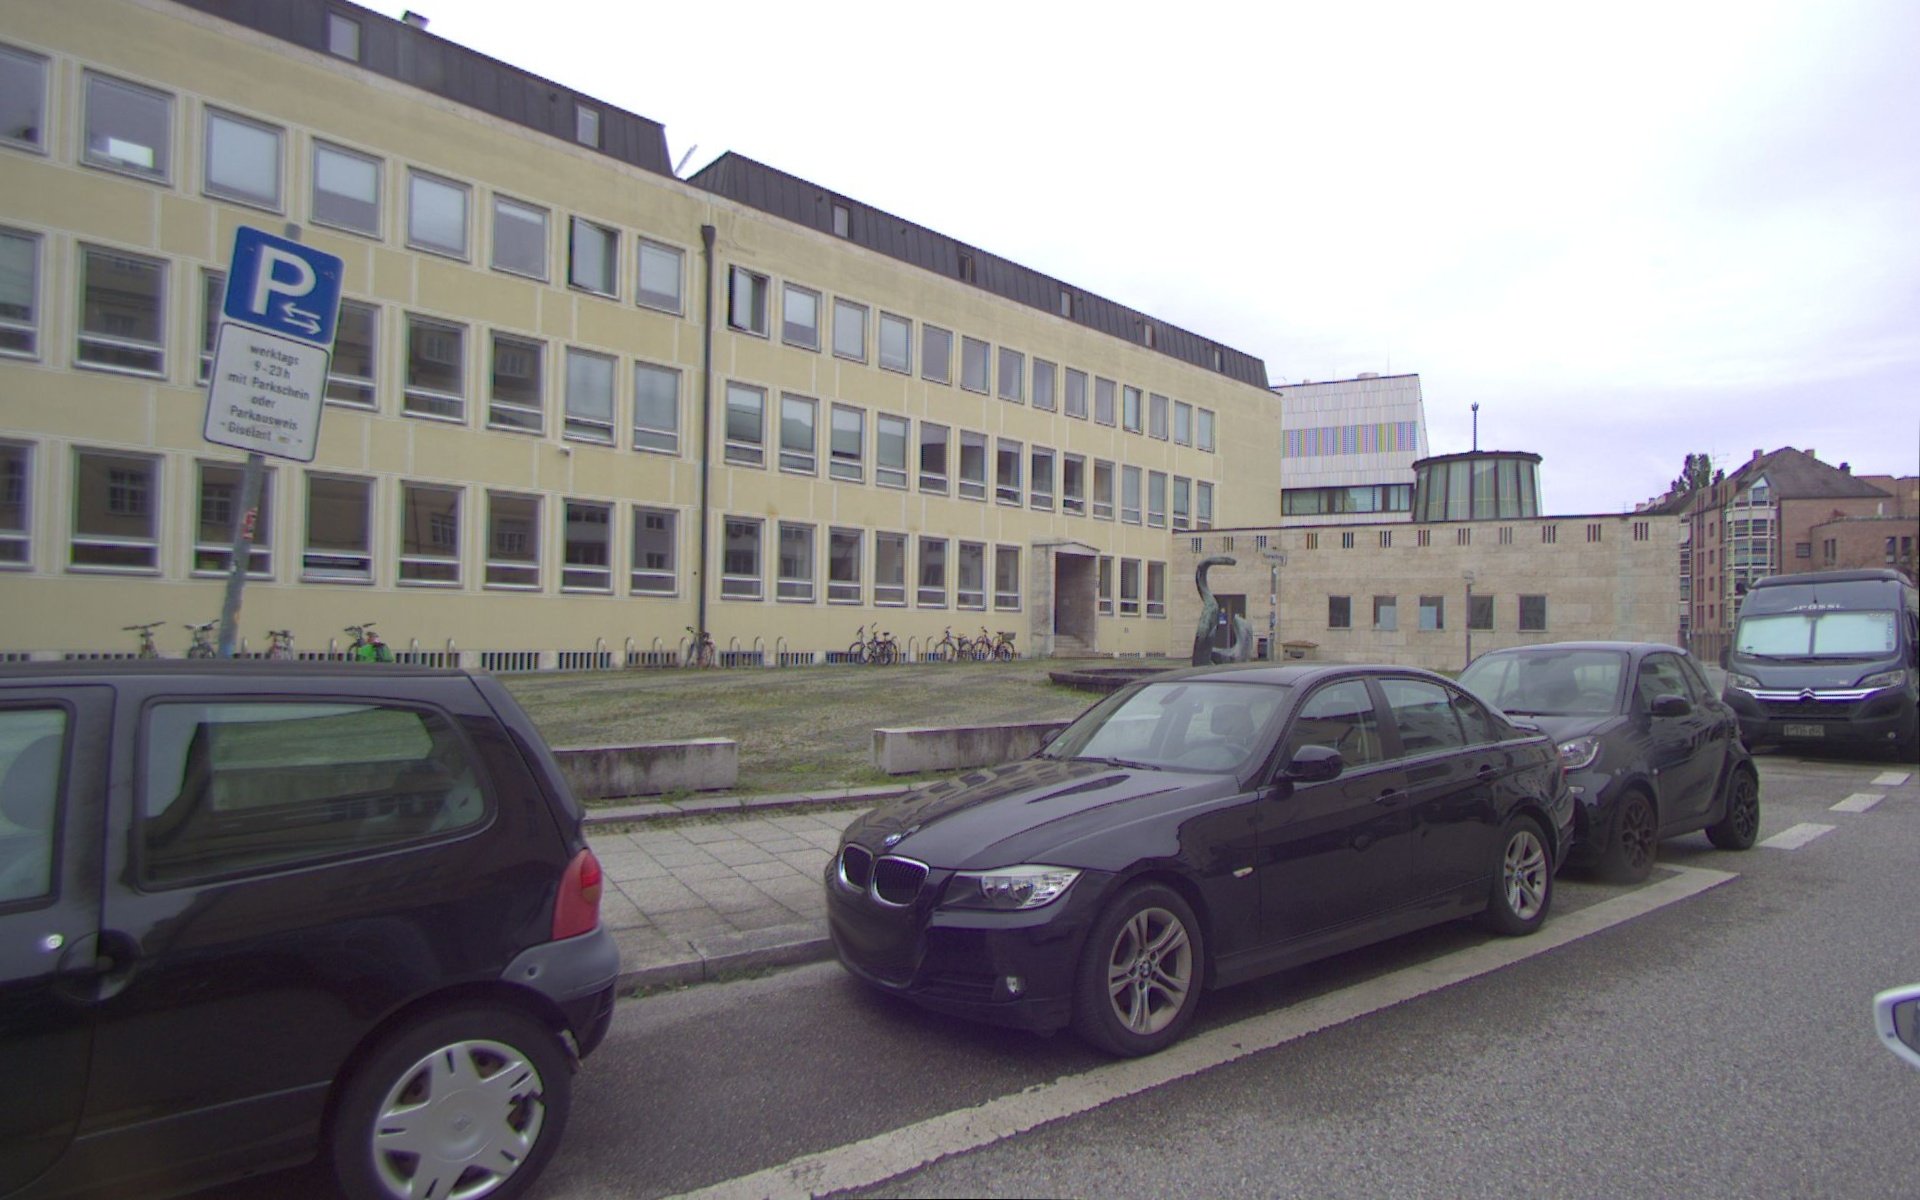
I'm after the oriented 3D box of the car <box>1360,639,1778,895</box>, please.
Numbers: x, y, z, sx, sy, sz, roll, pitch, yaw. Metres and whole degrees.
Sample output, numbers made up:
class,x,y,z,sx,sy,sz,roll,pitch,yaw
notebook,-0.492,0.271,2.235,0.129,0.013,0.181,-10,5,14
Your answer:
class,x,y,z,sx,sy,sz,roll,pitch,yaw
car,4.613,1.079,7.555,2.949,1.521,1.659,2,-4,-36

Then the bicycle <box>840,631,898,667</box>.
class,x,y,z,sx,sy,sz,roll,pitch,yaw
bicycle,-2.775,1.471,30.481,1.926,1.028,0.622,0,-2,44

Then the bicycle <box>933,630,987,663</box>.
class,x,y,z,sx,sy,sz,roll,pitch,yaw
bicycle,-0.018,1.520,33.248,0.621,1.028,1.928,2,-2,-43

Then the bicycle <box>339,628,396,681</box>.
class,x,y,z,sx,sy,sz,roll,pitch,yaw
bicycle,-12.327,1.106,20.880,0.621,1.028,1.928,2,-2,-43

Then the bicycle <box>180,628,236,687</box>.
class,x,y,z,sx,sy,sz,roll,pitch,yaw
bicycle,-14.190,1.060,18.937,0.621,1.028,1.928,2,-2,-43

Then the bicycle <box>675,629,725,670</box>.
class,x,y,z,sx,sy,sz,roll,pitch,yaw
bicycle,-6.958,1.294,26.810,0.619,1.028,1.933,2,-1,-36

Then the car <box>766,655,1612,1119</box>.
class,x,y,z,sx,sy,sz,roll,pitch,yaw
car,1.411,1.002,5.169,4.412,1.424,1.787,2,-4,-36

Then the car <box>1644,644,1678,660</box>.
class,x,y,z,sx,sy,sz,roll,pitch,yaw
car,73.527,5.467,105.379,1.777,1.492,4.118,1,-1,18

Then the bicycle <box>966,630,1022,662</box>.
class,x,y,z,sx,sy,sz,roll,pitch,yaw
bicycle,1.140,1.562,34.055,1.923,1.028,0.623,0,-1,40

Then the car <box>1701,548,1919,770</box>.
class,x,y,z,sx,sy,sz,roll,pitch,yaw
car,13.001,0.822,14.979,5.977,2.676,2.143,2,-3,-44

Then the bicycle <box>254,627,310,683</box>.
class,x,y,z,sx,sy,sz,roll,pitch,yaw
bicycle,-13.527,1.077,20.027,0.621,1.028,1.928,2,-2,-43

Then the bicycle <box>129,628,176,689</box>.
class,x,y,z,sx,sy,sz,roll,pitch,yaw
bicycle,-14.687,1.039,18.268,0.620,1.028,1.931,2,-2,-39

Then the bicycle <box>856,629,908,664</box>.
class,x,y,z,sx,sy,sz,roll,pitch,yaw
bicycle,-2.443,1.447,31.347,0.620,1.028,1.931,2,-2,-39

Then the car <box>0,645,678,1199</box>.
class,x,y,z,sx,sy,sz,roll,pitch,yaw
car,-2.593,0.860,2.574,3.277,1.472,1.647,2,-3,-33

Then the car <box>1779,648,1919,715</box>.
class,x,y,z,sx,sy,sz,roll,pitch,yaw
car,22.057,1.904,23.577,4.003,1.500,1.687,-2,-5,10
